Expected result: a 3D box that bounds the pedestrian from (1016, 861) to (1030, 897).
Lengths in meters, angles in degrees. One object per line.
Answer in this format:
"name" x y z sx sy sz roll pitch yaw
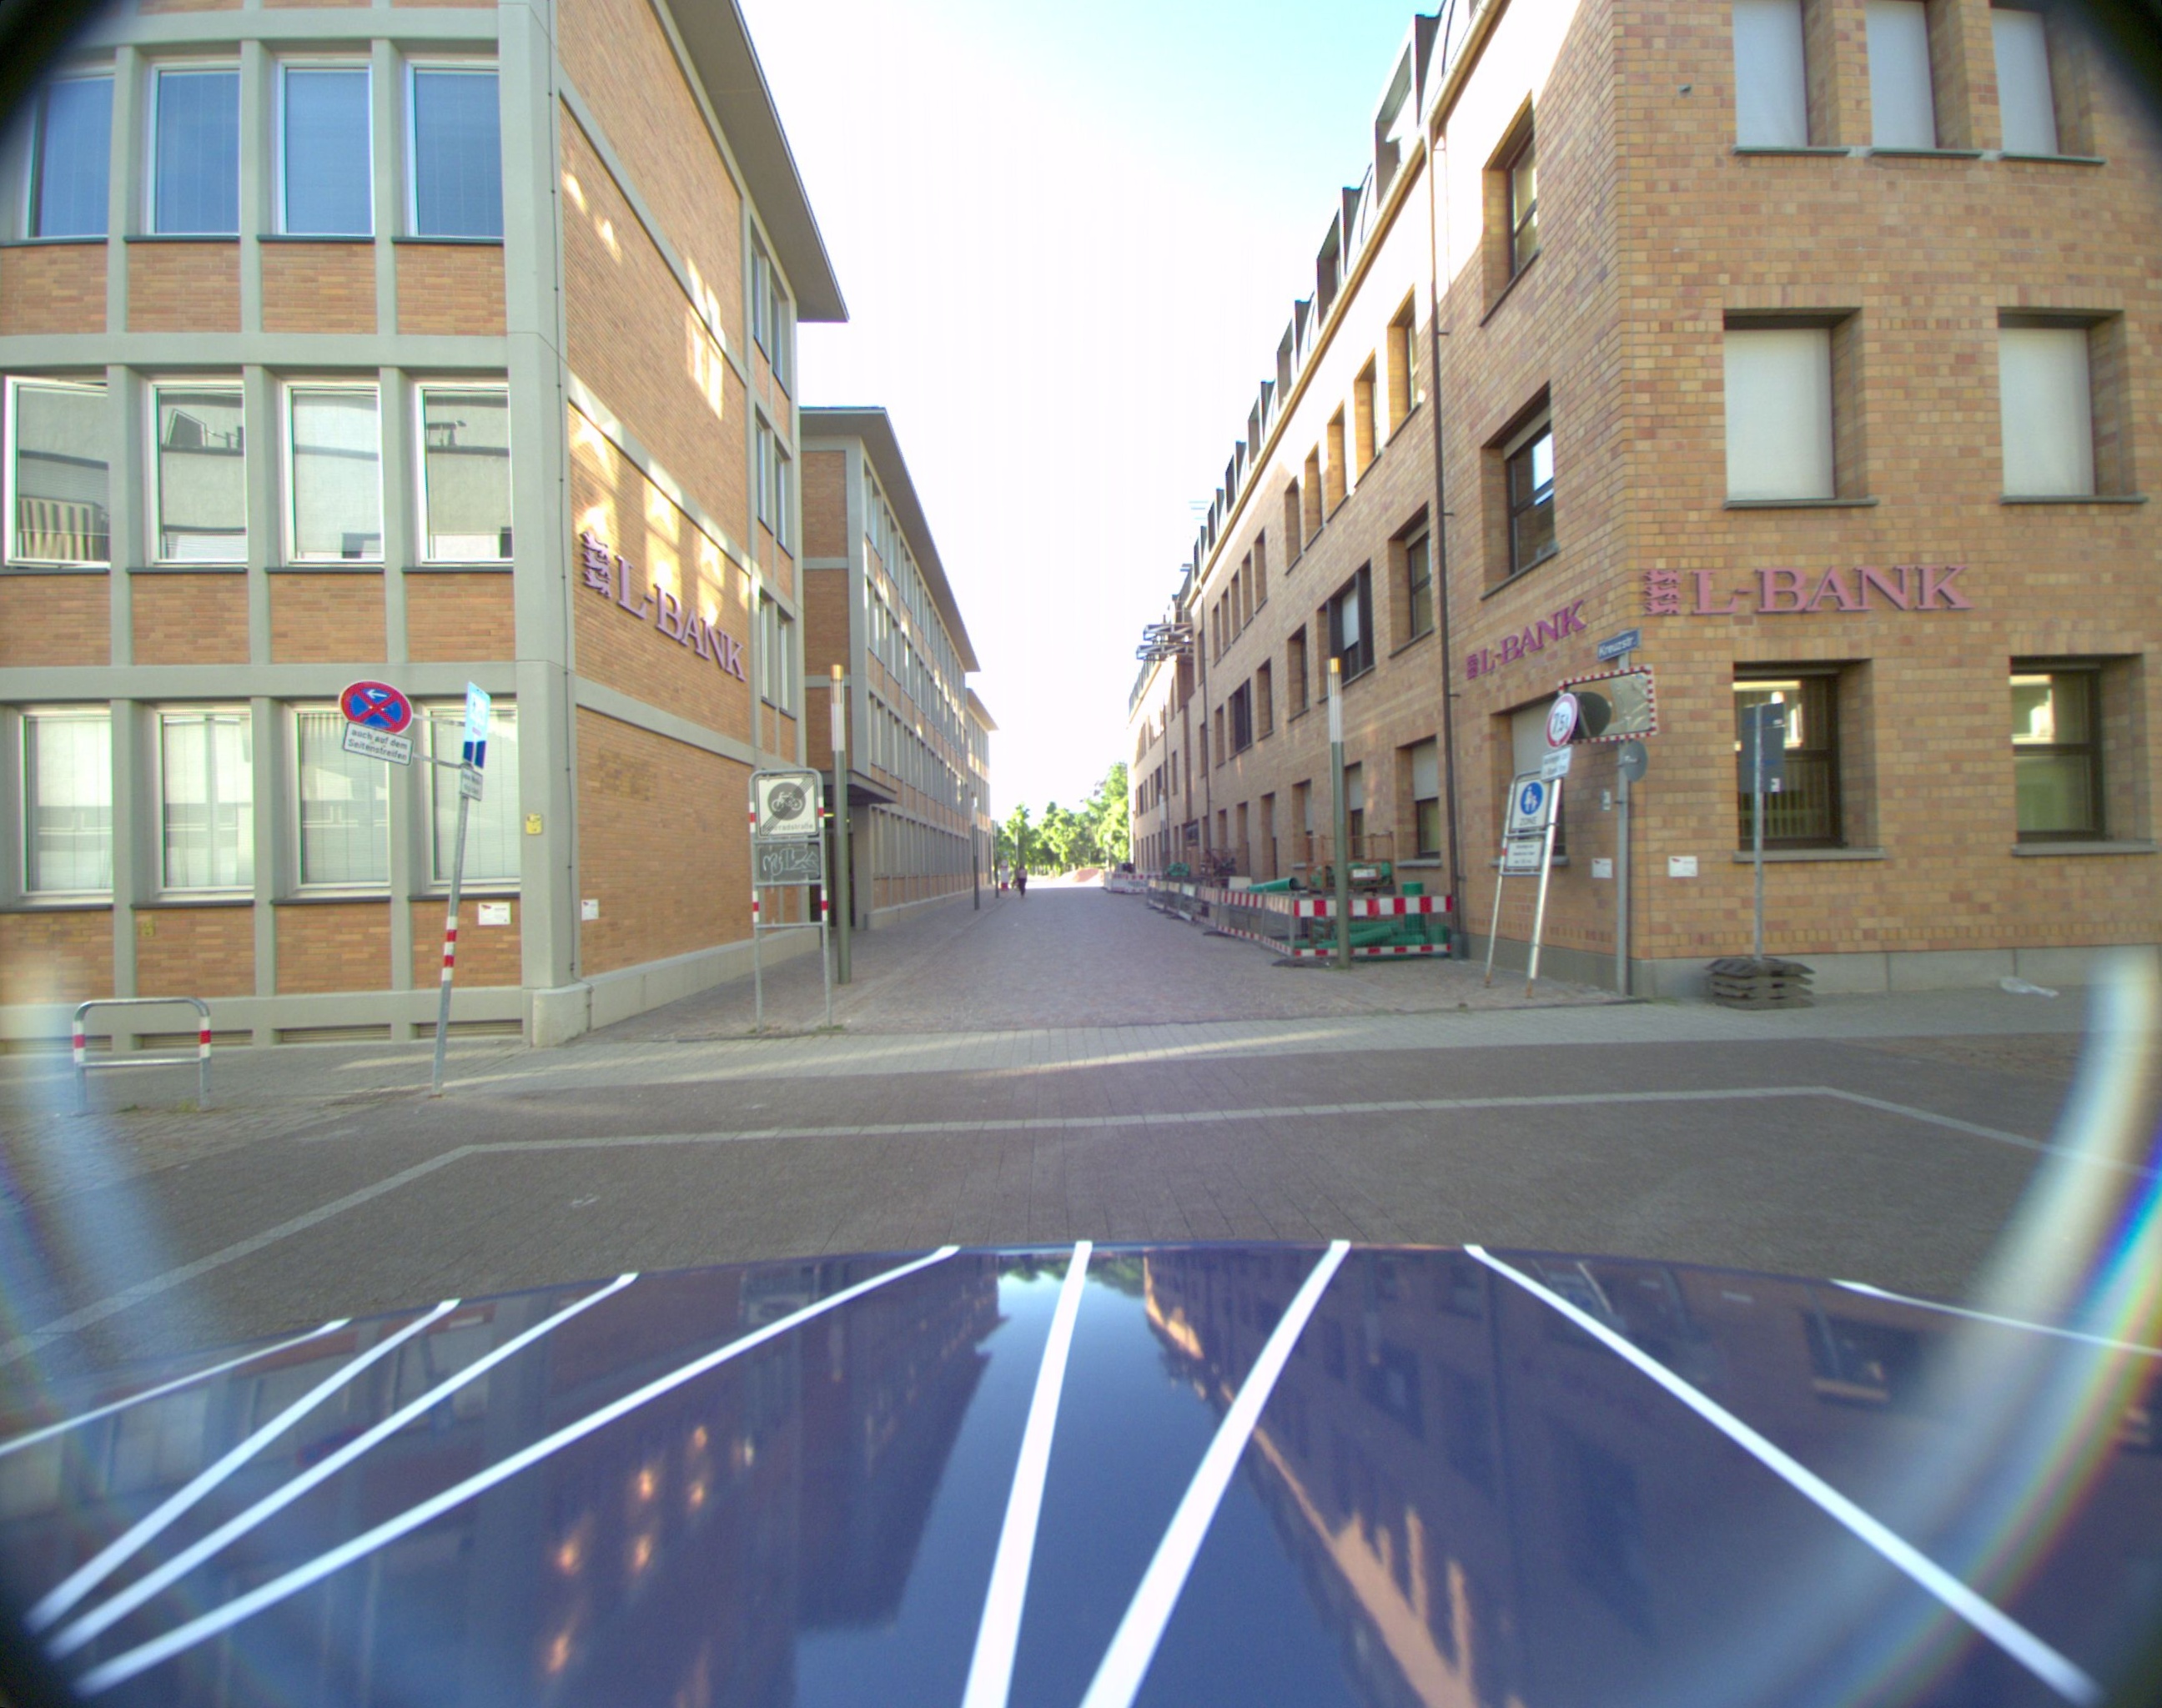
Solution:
"pedestrian" -2.919 1.273 38.598 0.638 1.774 0.652 -1 -2 -2
